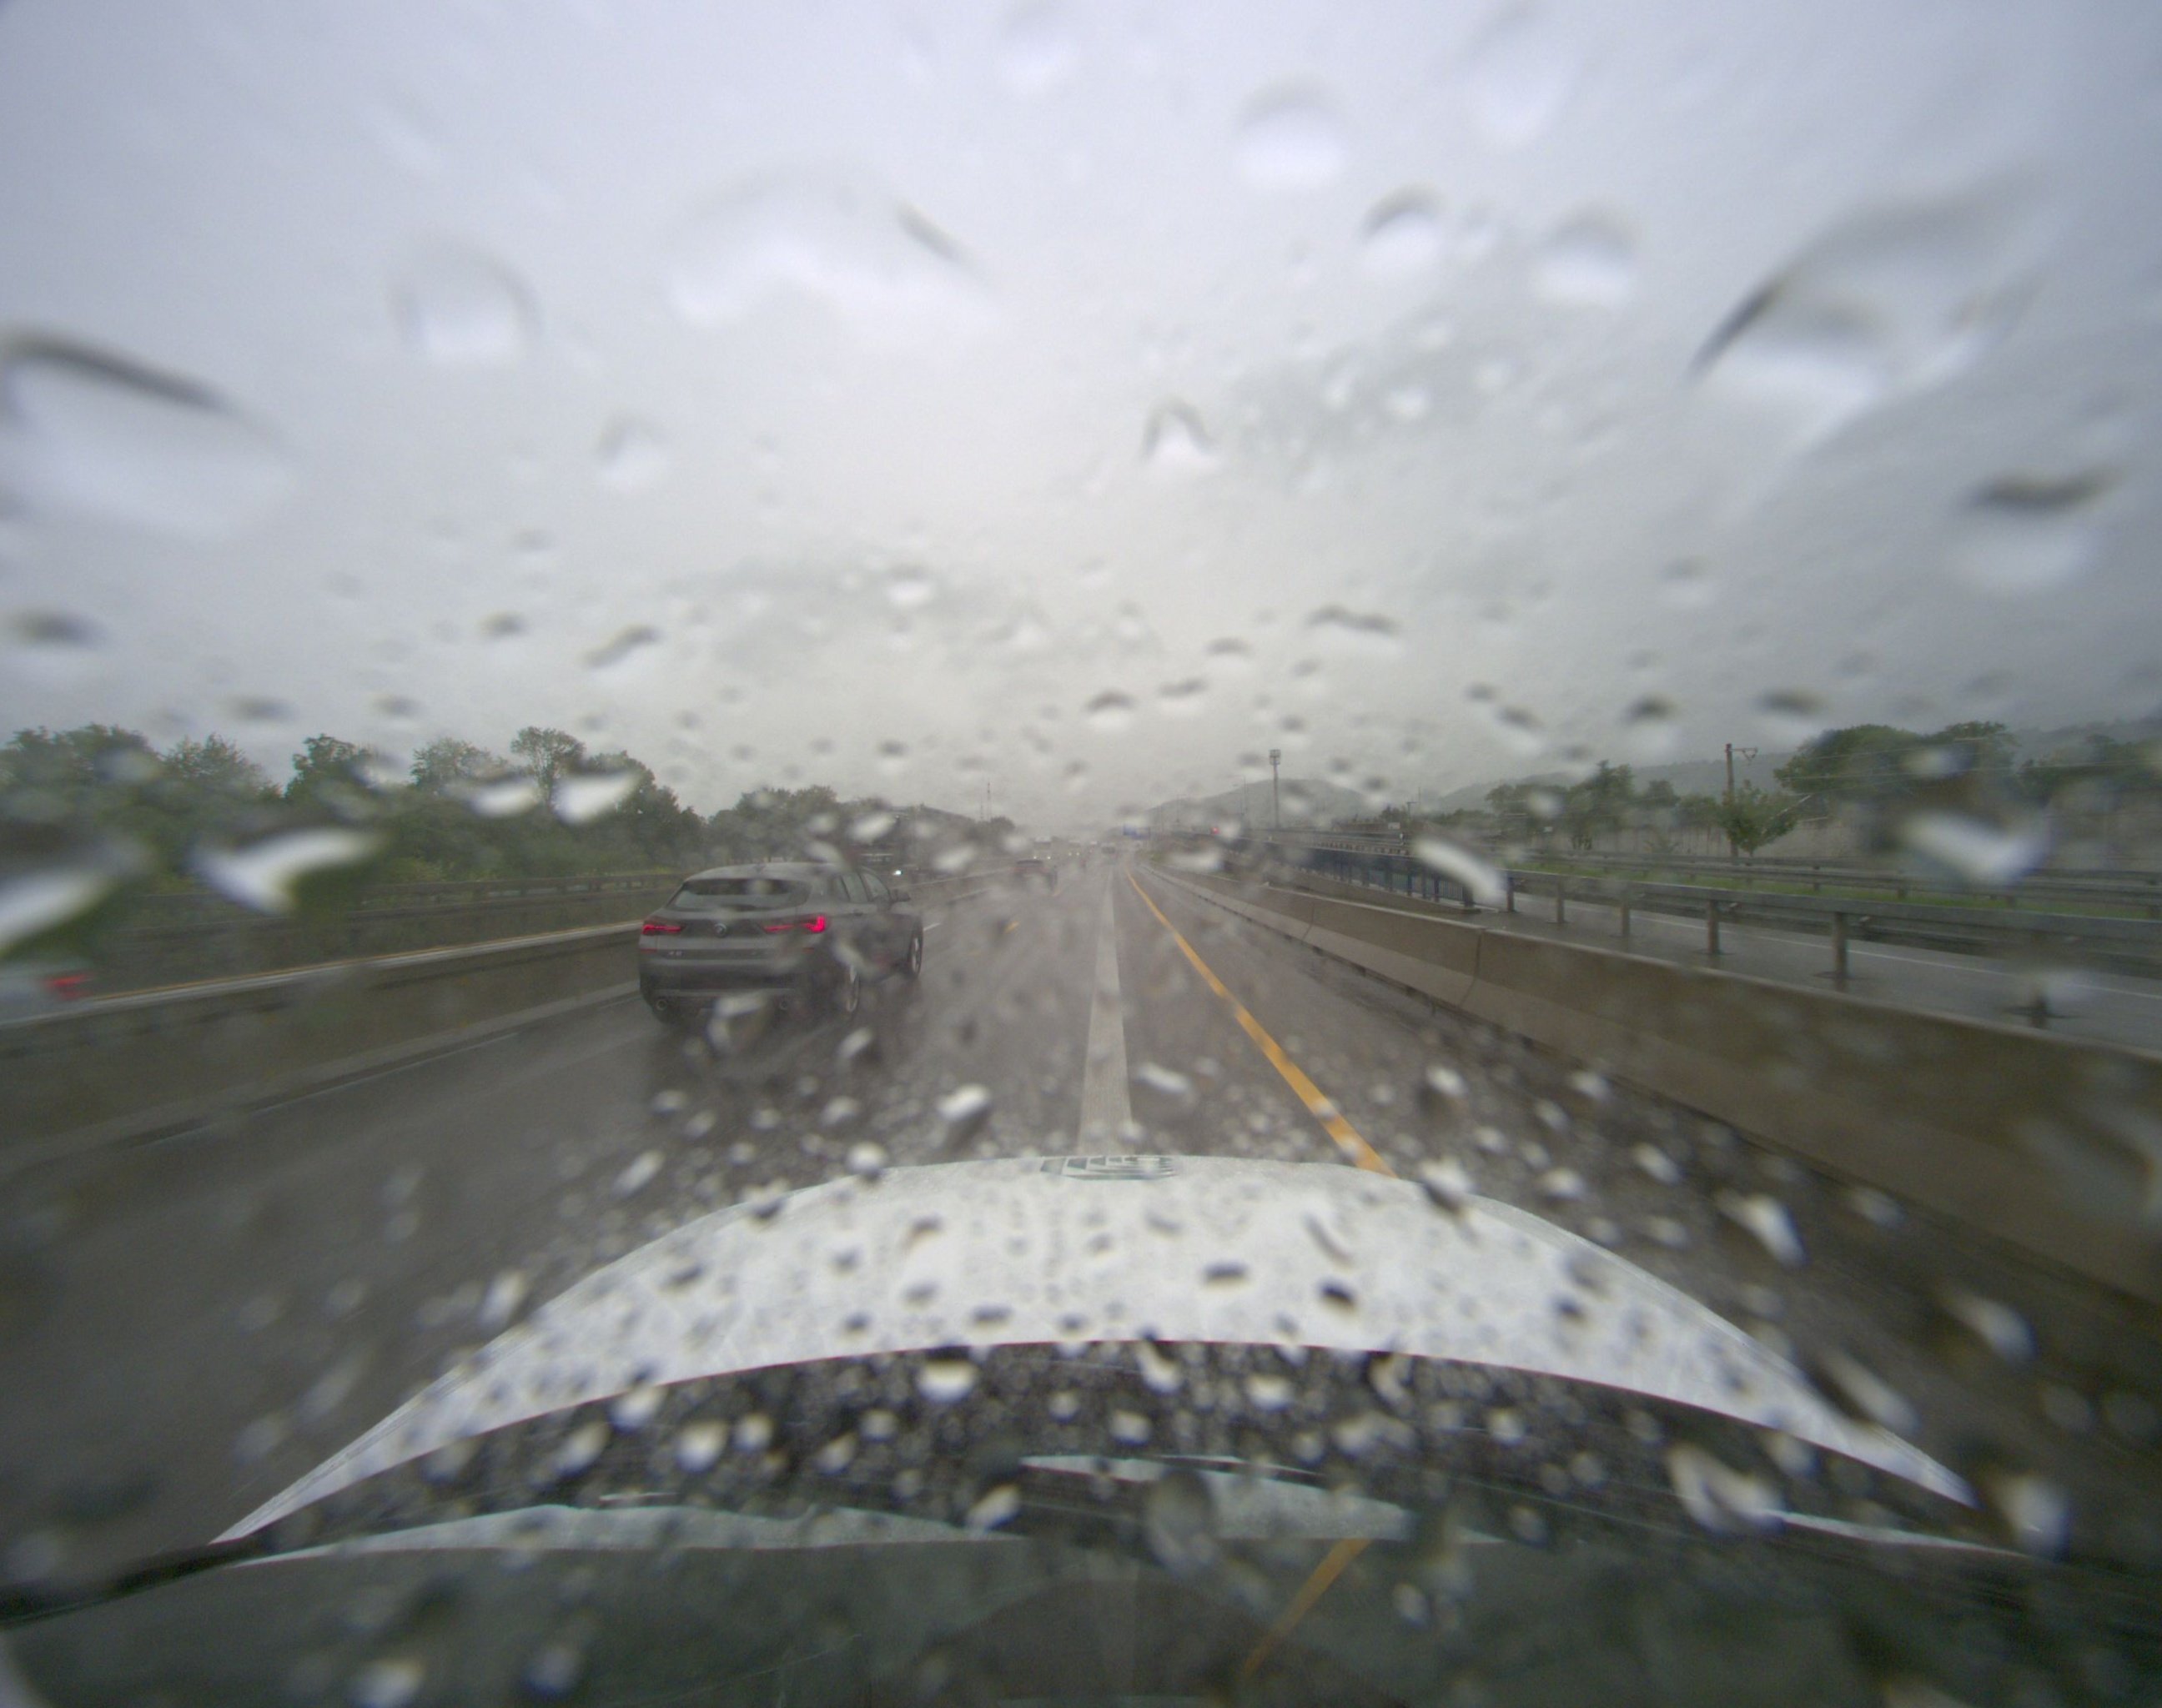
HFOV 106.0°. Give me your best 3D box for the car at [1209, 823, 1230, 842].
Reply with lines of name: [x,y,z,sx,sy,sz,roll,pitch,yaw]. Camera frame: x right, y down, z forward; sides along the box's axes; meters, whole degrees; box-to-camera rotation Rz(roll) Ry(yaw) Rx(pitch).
car: [16.700,-2.561,98.532,1.986,2.142,4.001,-1,-1,1]

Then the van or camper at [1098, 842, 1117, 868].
van or camper: [2.948,0.172,90.332,1.989,2.777,4.050,-1,-1,1]

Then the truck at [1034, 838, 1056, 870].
truck: [-5.110,0.019,115.423,2.493,4.463,6.884,-1,-1,2]

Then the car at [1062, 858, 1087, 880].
car: [-0.482,1.172,64.638,1.838,1.491,4.263,-3,1,1]

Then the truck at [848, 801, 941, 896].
truck: [-8.743,-0.207,38.911,2.632,4.127,6.698,-1,-1,2]

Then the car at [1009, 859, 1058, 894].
car: [-2.088,0.989,36.898,1.837,1.491,4.262,-1,-1,1]

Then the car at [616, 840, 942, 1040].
car: [-2.865,0.706,9.031,1.694,1.598,4.846,-1,0,1]

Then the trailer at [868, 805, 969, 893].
trailer: [-8.530,-0.168,44.685,2.640,4.109,12.319,-1,-1,2]

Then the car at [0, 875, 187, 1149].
car: [-7.057,0.873,3.080,2.030,1.506,4.722,-1,-1,2]

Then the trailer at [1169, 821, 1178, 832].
trailer: [23.773,-7.070,209.614,1.984,2.106,13.786,-1,-1,5]

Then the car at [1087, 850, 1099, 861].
car: [1.723,0.247,118.081,1.561,1.480,2.822,-3,-1,1]
